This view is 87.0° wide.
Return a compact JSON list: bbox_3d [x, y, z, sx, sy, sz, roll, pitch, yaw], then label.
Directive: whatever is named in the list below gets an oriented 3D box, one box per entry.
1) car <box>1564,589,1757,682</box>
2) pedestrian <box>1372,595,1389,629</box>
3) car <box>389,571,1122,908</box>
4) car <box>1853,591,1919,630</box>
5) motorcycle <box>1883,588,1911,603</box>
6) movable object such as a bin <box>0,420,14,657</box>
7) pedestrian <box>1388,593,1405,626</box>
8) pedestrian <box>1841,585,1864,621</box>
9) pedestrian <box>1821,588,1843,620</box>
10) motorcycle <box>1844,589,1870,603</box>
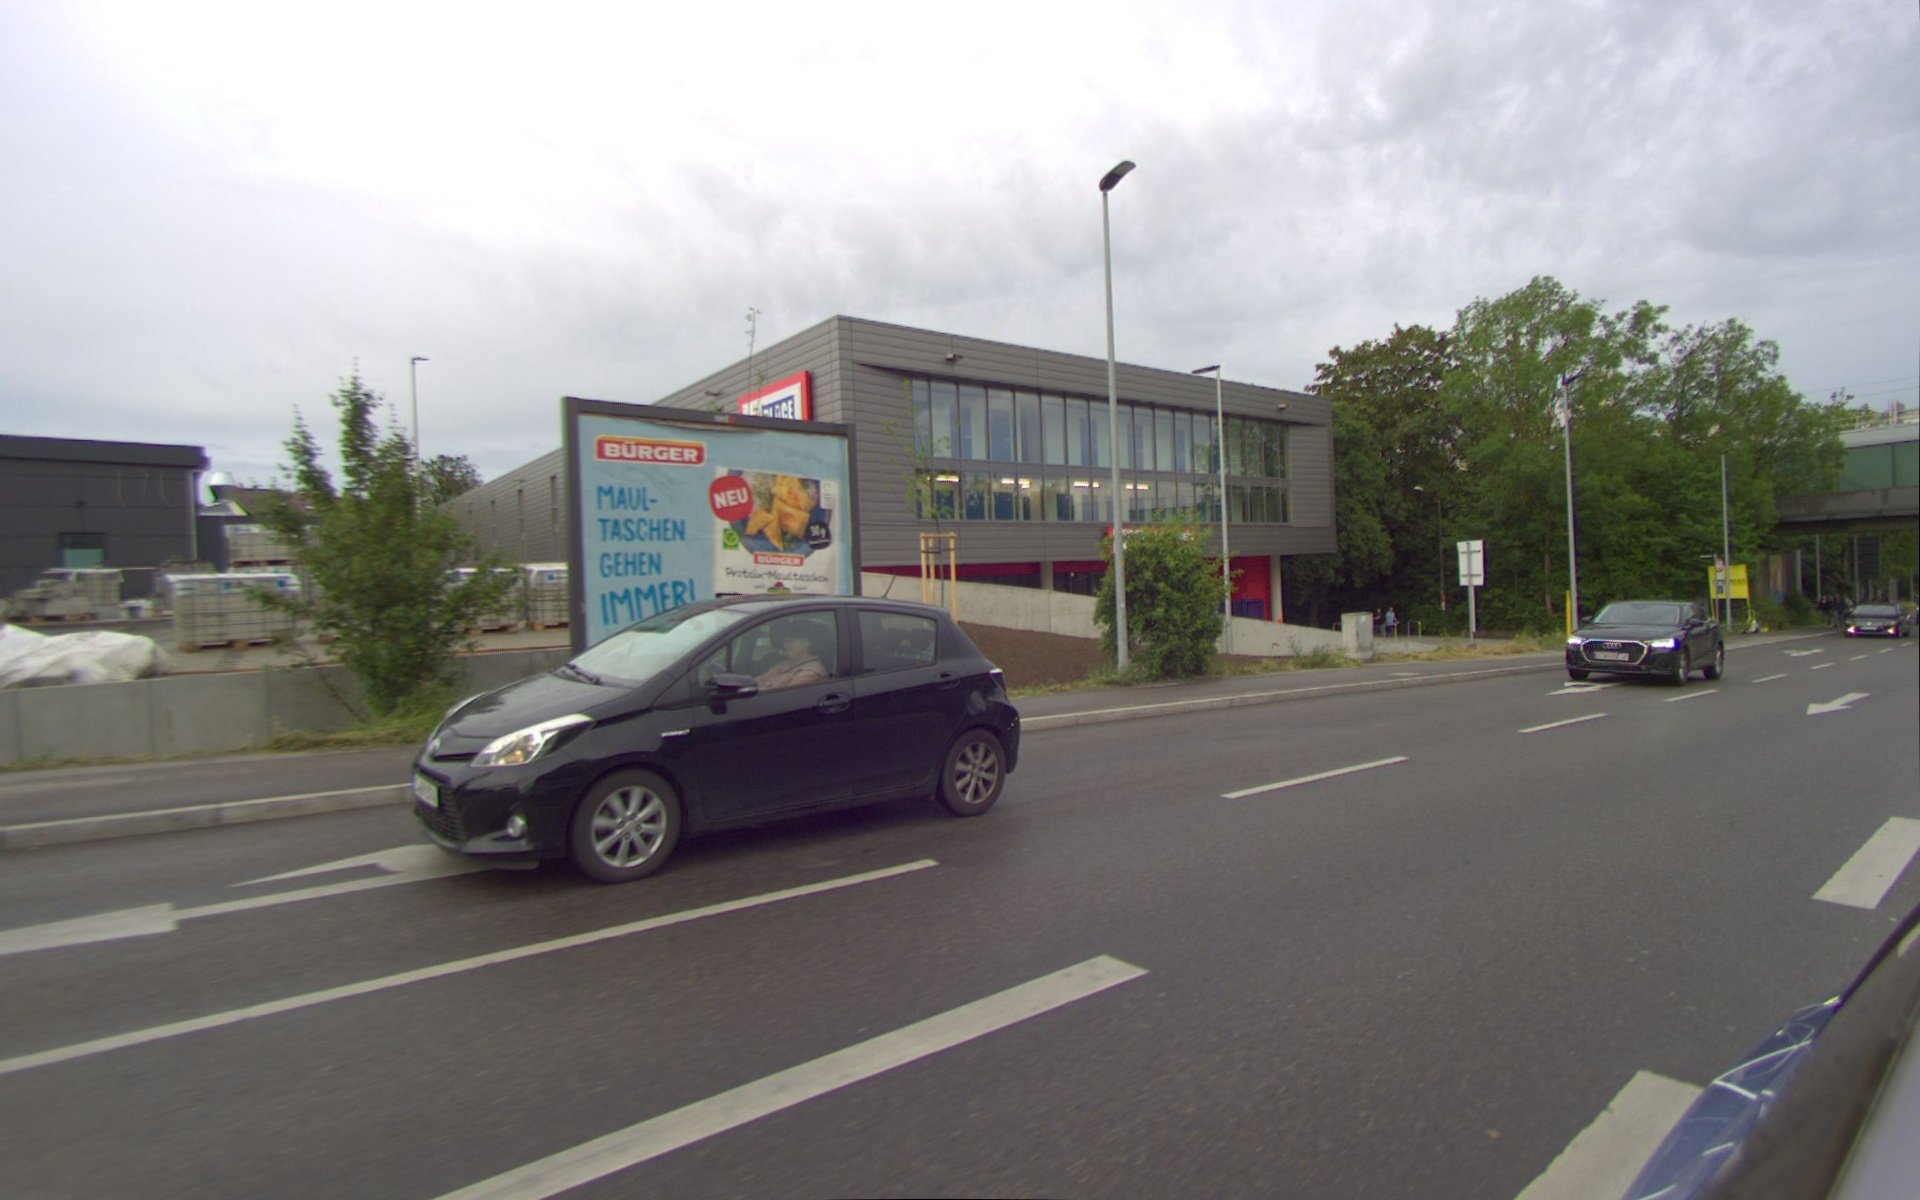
[{"bbox_3d":[13.757,0.594,19.732,5.511,1.564,1.818,0,0,-41],"label":"car"},{"bbox_3d":[23.272,0.662,56.053,0.612,1.839,0.587,-1,-1,-13],"label":"pedestrian"},{"bbox_3d":[-1.081,0.622,6.831,4.561,1.488,1.747,-2,0,-41],"label":"car"},{"bbox_3d":[38.791,0.423,42.213,4.439,1.448,1.747,-2,0,-41],"label":"car"},{"bbox_3d":[80.415,-0.397,86.872,0.484,1.165,1.659,-2,-1,-32],"label":"motorcycle"},{"bbox_3d":[-15.978,-0.862,13.033,2.299,3.318,5.343,-2,-1,41],"label":"movable object such as a bin"},{"bbox_3d":[24.251,0.520,56.258,0.588,1.839,0.587,-1,-1,-13],"label":"pedestrian"},{"bbox_3d":[44.381,0.137,50.328,0.874,1.743,0.613,-1,0,-31],"label":"pedestrian"},{"bbox_3d":[43.908,0.198,50.963,0.567,1.616,0.653,-1,0,-29],"label":"pedestrian"},{"bbox_3d":[82.108,-0.377,92.645,0.548,1.160,1.645,-2,-1,-30],"label":"motorcycle"}]
